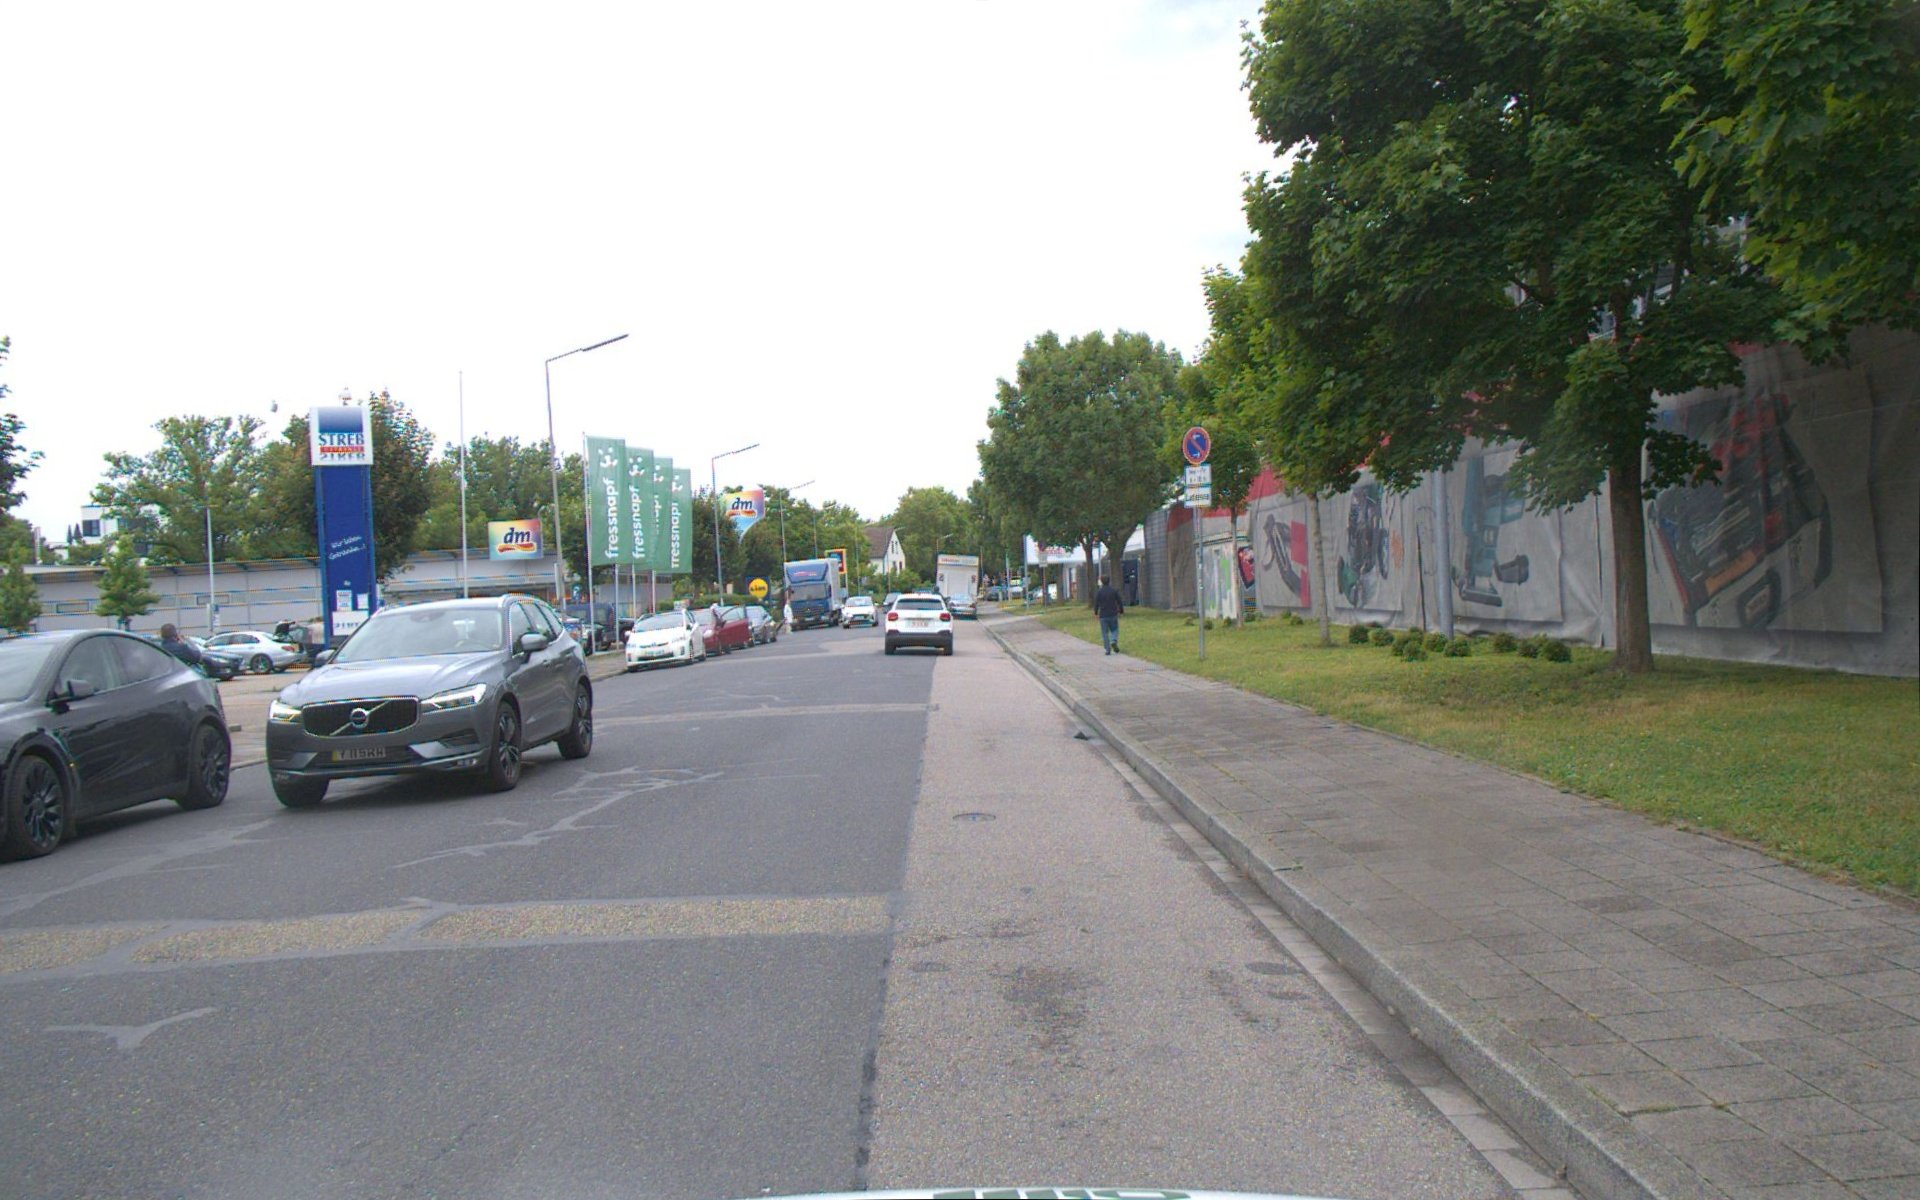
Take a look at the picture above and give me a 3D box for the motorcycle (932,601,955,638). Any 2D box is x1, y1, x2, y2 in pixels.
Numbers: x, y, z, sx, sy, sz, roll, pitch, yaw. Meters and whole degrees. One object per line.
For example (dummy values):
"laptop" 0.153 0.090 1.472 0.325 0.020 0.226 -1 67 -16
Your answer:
"motorcycle" -0.543 0.641 55.620 0.627 1.199 2.114 -3 0 2

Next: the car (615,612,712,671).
"car" -8.029 1.100 45.120 1.859 1.391 4.000 -3 0 0

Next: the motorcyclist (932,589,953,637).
"motorcyclist" -0.583 0.442 56.029 0.612 1.581 0.604 -3 0 1

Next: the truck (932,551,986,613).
"truck" -0.160 -1.052 105.244 3.072 3.647 10.047 -1 0 -2

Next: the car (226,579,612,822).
"car" -4.601 0.760 14.870 1.894 1.713 4.495 -4 0 0

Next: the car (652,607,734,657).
"car" -8.296 0.977 51.756 1.859 1.391 4.000 -3 0 0

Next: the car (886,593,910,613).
"car" -5.310 0.274 142.651 1.953 1.713 3.999 -2 0 -2

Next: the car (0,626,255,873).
"car" -7.331 1.132 12.647 1.908 1.552 4.401 -7 0 -1

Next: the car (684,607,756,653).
"car" -8.295 1.015 57.392 1.859 1.391 4.000 -3 0 0

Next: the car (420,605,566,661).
"car" -14.686 1.012 52.202 4.056 1.488 1.896 -3 0 -6

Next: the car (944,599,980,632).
"car" 0.082 0.889 96.150 1.953 1.837 3.999 -1 0 -2

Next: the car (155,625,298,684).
"car" -24.762 1.824 55.929 3.906 1.698 1.876 -3 0 0

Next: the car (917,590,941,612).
"car" -2.560 0.087 137.217 1.832 1.690 3.998 -4 0 -2

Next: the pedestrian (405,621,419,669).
"pedestrian" -18.276 1.493 55.160 0.324 1.597 0.502 -3 0 -14

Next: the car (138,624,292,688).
"car" -23.463 1.747 52.209 3.906 1.698 1.876 -3 0 0

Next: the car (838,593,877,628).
"car" -5.023 0.515 81.638 1.566 1.554 3.528 -4 0 0

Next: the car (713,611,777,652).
"car" -8.173 1.181 63.165 1.859 1.391 4.000 -3 0 0

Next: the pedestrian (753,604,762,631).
"pedestrian" -11.586 1.002 94.736 0.394 1.558 0.485 -3 0 -7

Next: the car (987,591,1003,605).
"car" 4.218 -0.223 200.091 1.848 1.713 4.254 -1 0 0

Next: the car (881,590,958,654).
"car" -1.018 0.546 43.453 1.848 1.558 4.254 -1 0 0

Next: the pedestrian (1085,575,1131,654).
"pedestrian" 3.183 0.303 35.743 0.900 1.663 0.853 -1 -1 1

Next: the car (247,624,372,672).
"car" -24.466 1.789 62.287 3.905 1.518 1.786 -3 0 0

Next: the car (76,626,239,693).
"car" -24.095 1.777 49.756 3.906 1.698 1.876 -3 0 0

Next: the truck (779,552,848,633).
"truck" -7.976 -0.417 90.780 2.913 4.024 6.404 -4 0 0

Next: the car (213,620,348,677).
"car" -23.923 1.688 58.328 3.906 1.698 1.876 -3 0 0

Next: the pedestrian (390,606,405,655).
"pedestrian" -18.644 1.020 54.792 0.353 1.597 0.502 -3 0 -14

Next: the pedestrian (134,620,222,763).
"pedestrian" -9.950 1.145 21.065 0.760 1.745 0.696 -2 0 -5

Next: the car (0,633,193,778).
"car" -14.524 1.678 26.183 3.856 2.048 1.758 -3 0 -8
